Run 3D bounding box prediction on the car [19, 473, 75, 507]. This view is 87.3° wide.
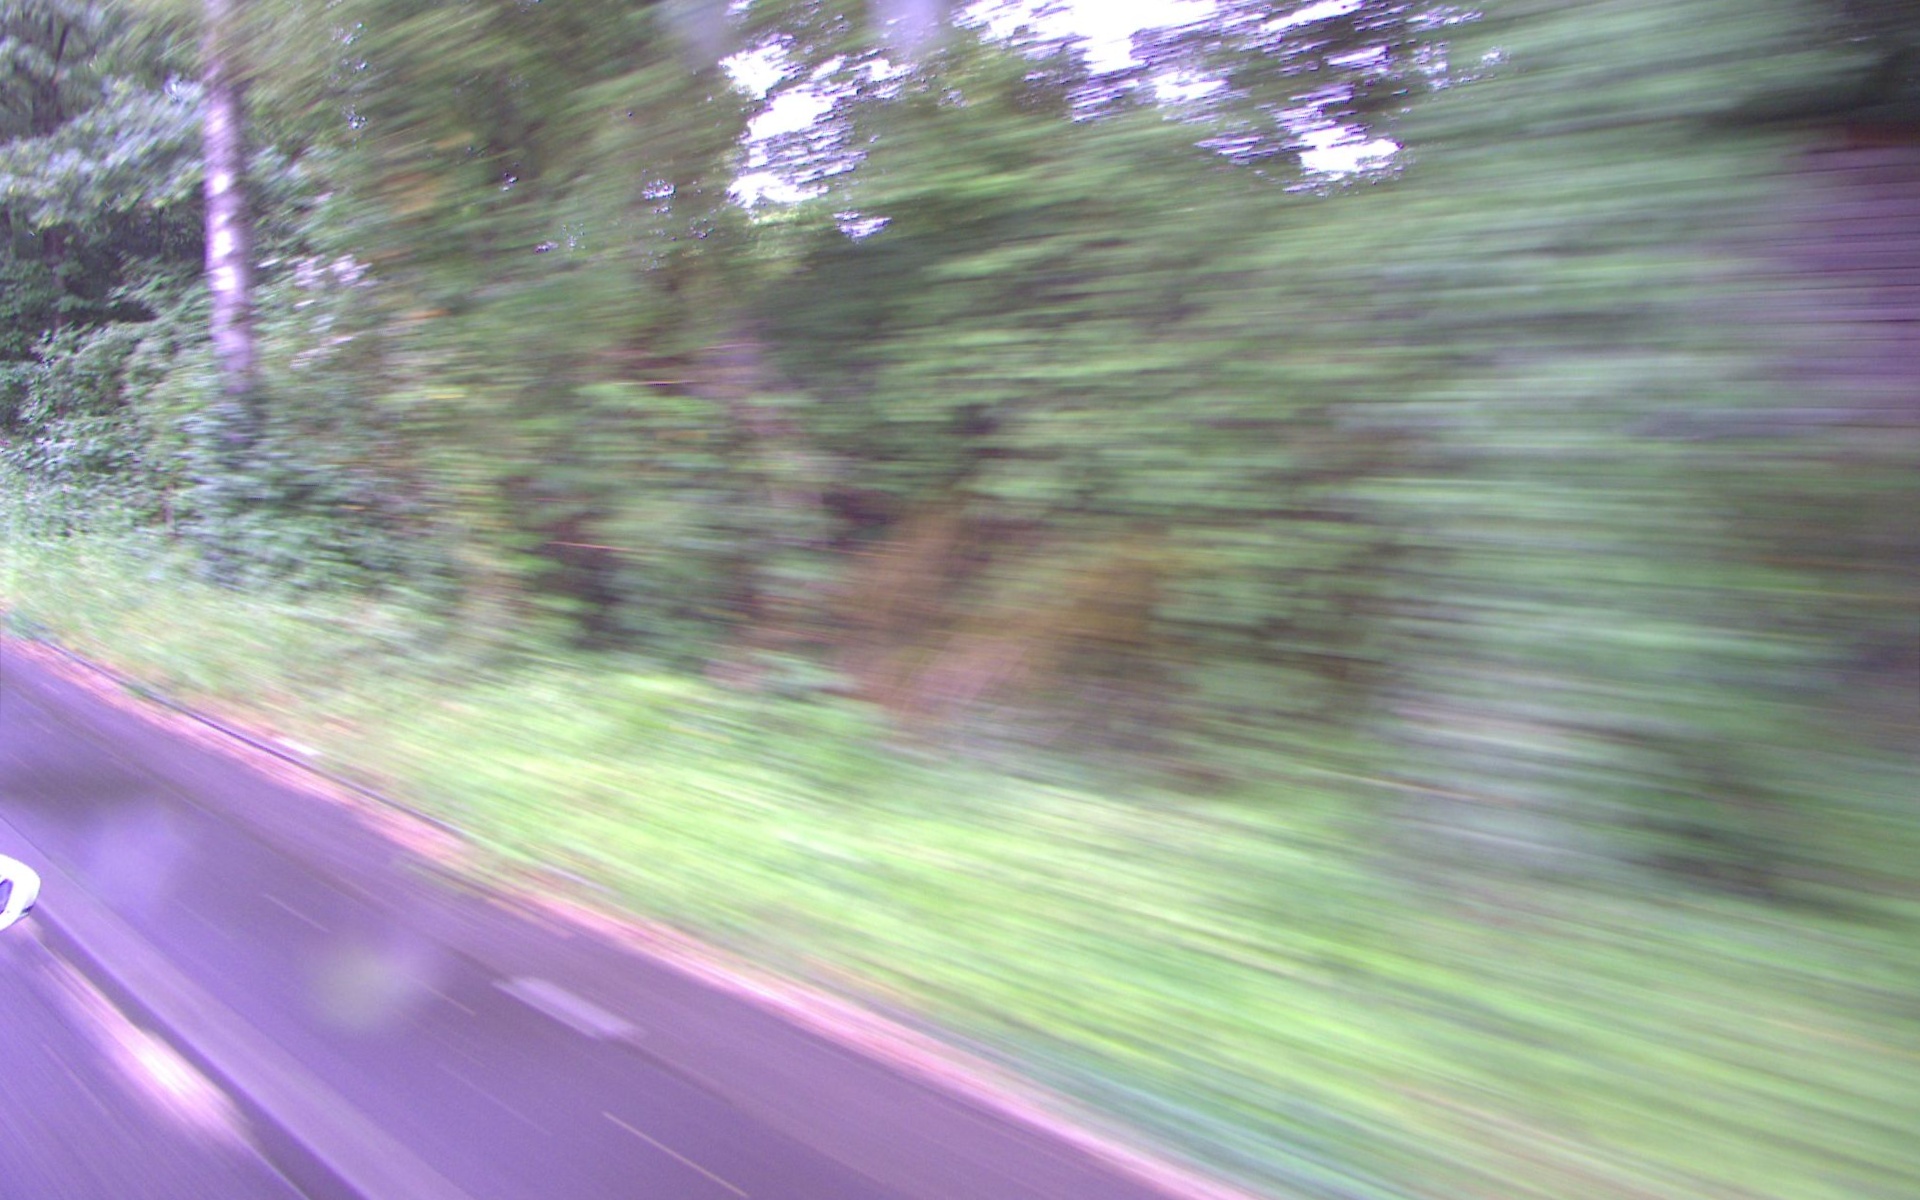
[{"bbox_3d":[-50.969,-6.108,56.219,1.657,1.614,3.648,6,1,-34],"label":"car"}]
